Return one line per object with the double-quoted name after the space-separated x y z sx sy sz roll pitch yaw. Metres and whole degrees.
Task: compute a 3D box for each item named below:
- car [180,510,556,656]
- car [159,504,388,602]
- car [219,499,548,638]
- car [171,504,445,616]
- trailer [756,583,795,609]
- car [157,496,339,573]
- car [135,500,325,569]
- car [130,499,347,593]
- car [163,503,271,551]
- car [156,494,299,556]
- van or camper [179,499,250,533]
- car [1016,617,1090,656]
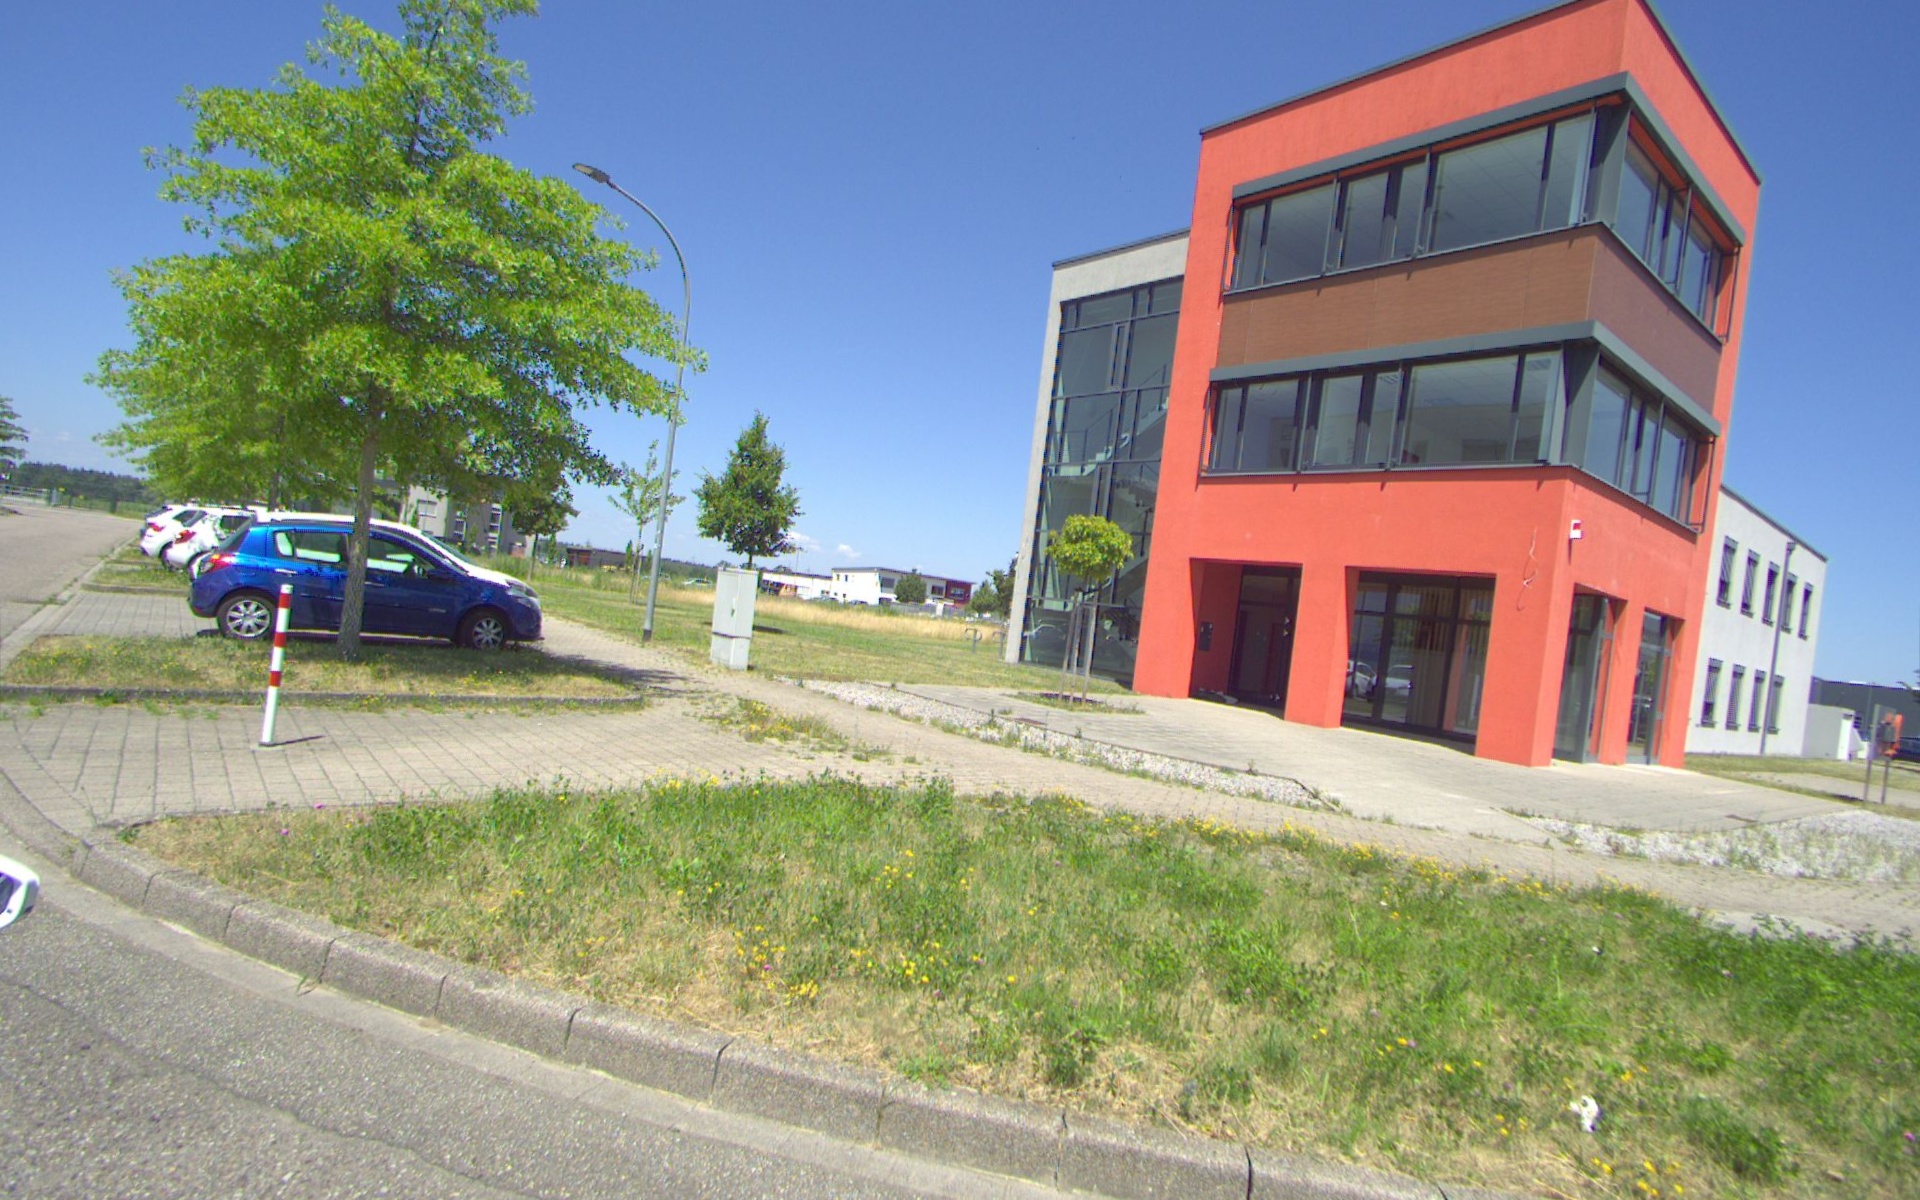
-7.630 -0.191 13.221 3.969 1.510 1.711 5 2 -35 "car"
-14.556 -0.974 21.433 3.817 1.543 1.760 7 0 -39 "car"
-8.677 -0.437 15.365 4.081 1.672 1.757 5 2 -34 "car"
-10.877 -0.634 16.919 3.603 1.482 1.591 4 2 -44 "car"
-22.995 -0.479 125.350 3.971 2.632 2.207 7 0 -40 "trailer"
-20.042 -1.823 28.428 4.026 1.646 1.675 6 1 -39 "car"
-23.428 -2.078 32.400 4.698 1.580 1.890 6 1 -43 "car"
-16.381 -1.216 23.076 3.809 1.573 1.763 7 1 -34 "car"
-34.265 -3.346 46.458 3.856 1.699 1.763 6 1 -39 "car"
-28.942 -2.937 39.853 4.380 1.853 1.777 6 0 -38 "car"
-67.752 -7.612 91.430 4.916 2.190 1.978 8 0 -40 "van or camper"
4.662 1.823 50.230 3.308 1.528 1.700 7 0 -39 "car"
